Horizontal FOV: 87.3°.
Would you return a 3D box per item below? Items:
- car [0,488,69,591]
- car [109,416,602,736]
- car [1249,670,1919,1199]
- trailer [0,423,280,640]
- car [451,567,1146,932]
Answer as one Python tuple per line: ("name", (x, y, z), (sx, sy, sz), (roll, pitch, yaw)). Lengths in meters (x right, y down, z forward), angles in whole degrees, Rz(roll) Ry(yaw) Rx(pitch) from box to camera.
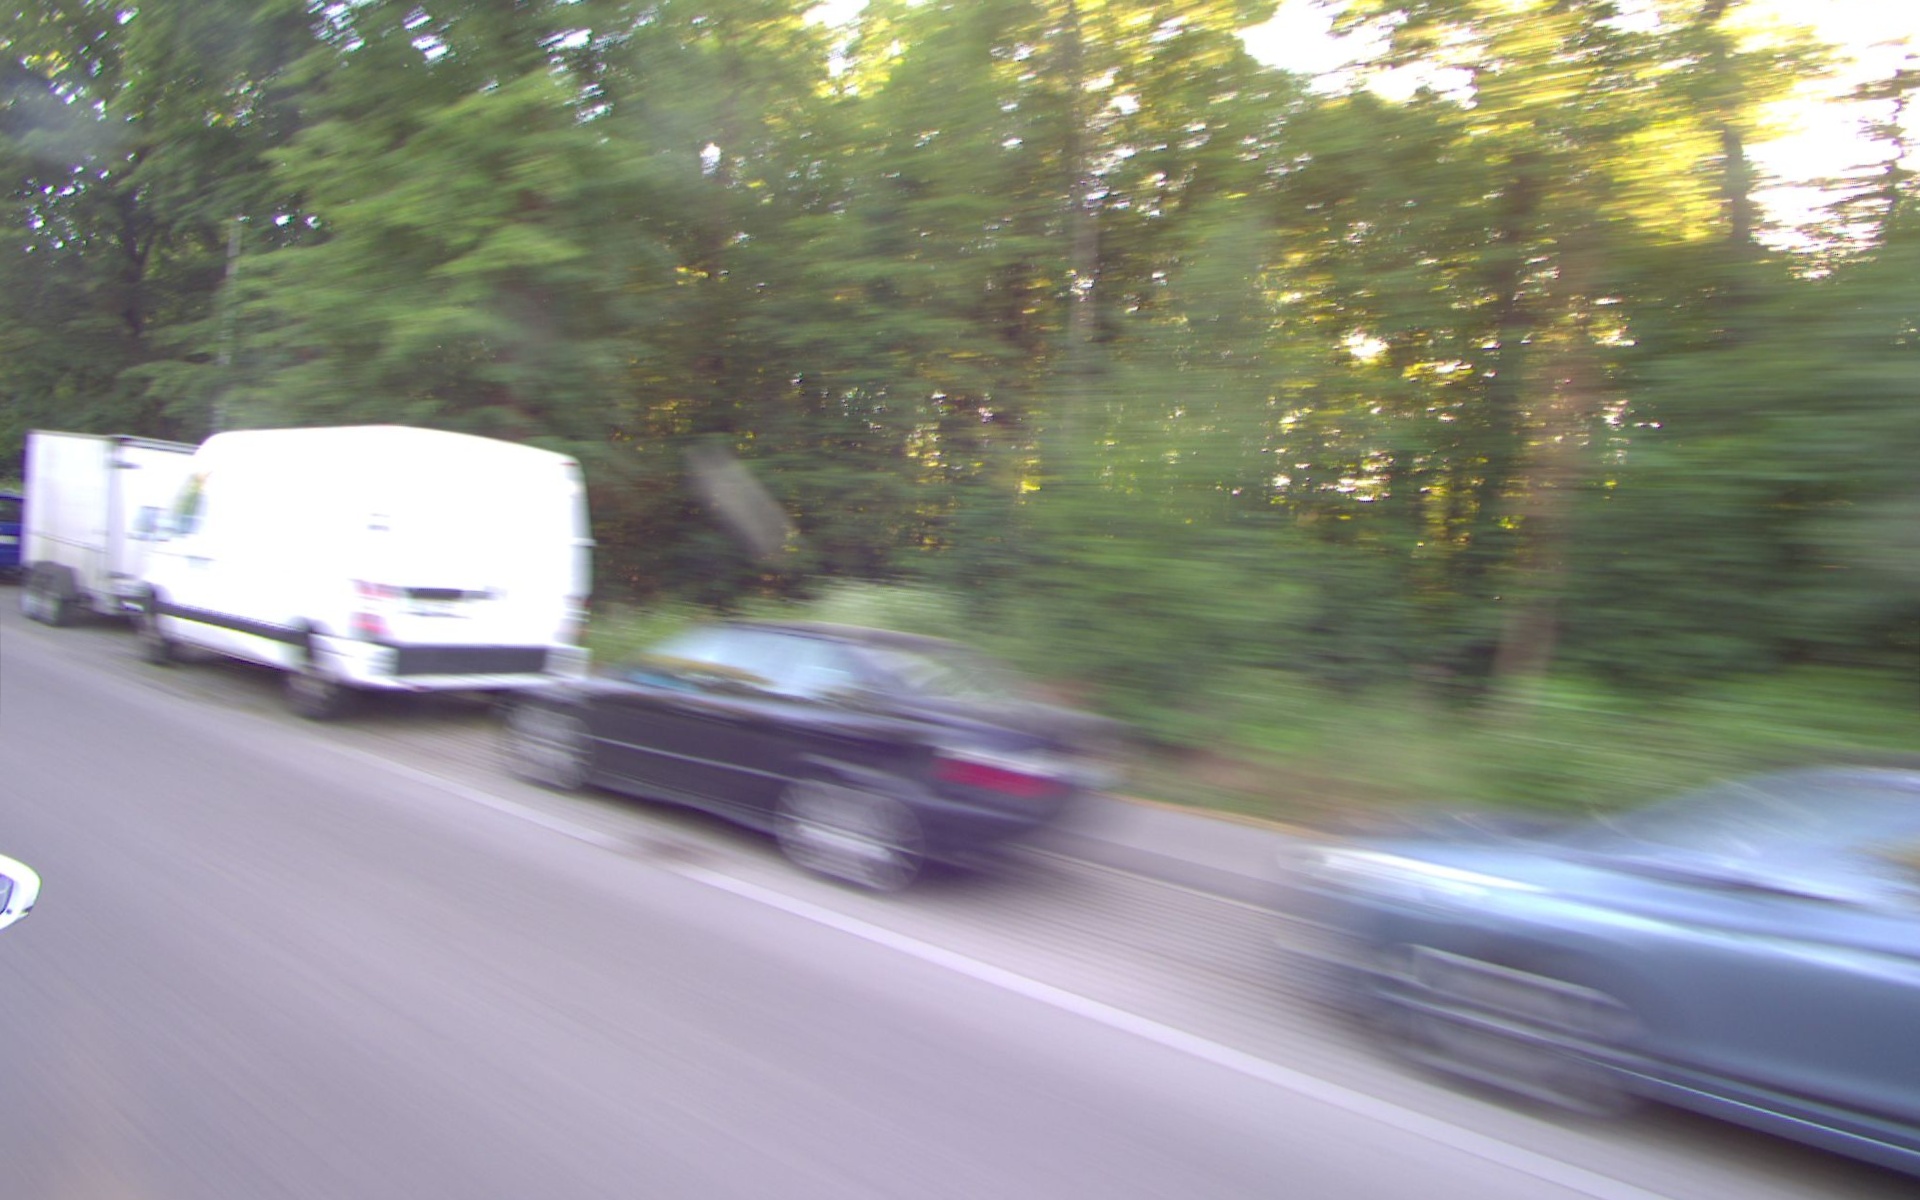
("car", (-16.865, -1.173, 16.981), (4.284, 1.555, 1.678), (6, 0, 34))
("car", (-6.196, -0.368, 10.004), (5.486, 2.454, 1.905), (6, 1, 34))
("car", (3.392, 1.267, 3.792), (4.000, 1.482, 1.679), (6, 0, 33))
("trailer", (-11.638, -0.992, 13.824), (5.044, 2.454, 1.905), (6, 1, 34))
("car", (-1.274, 0.731, 6.770), (4.575, 1.418, 1.679), (6, 0, 33))
